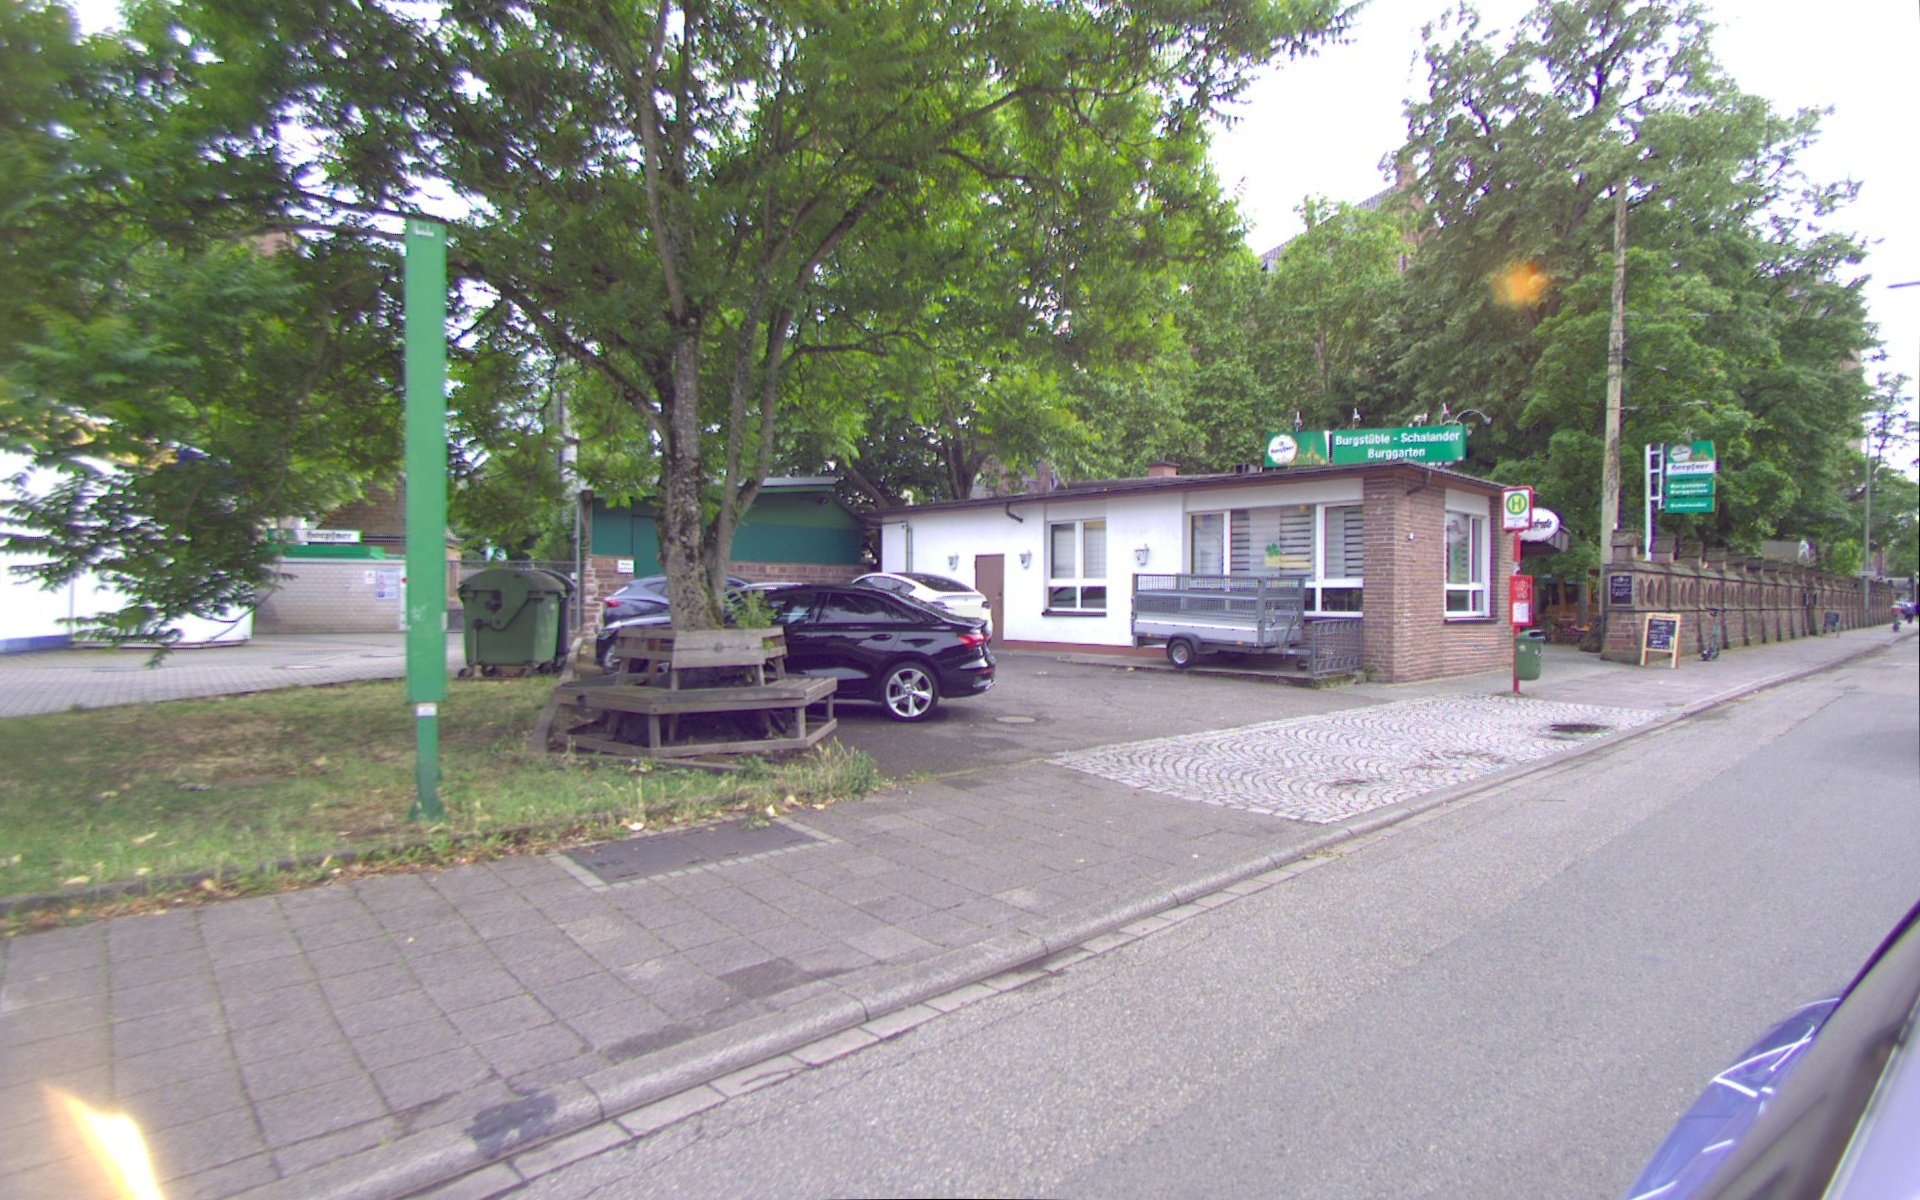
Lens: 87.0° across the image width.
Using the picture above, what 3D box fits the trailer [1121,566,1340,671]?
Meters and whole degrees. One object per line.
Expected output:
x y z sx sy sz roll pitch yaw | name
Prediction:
4.415 0.251 16.786 1.593 1.558 3.166 -1 1 -42 | trailer

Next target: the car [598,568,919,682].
-2.882 0.331 15.209 4.455 1.445 1.879 2 3 0 | car

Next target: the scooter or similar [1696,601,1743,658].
17.712 0.663 23.600 1.386 1.254 0.577 0 3 -43 | scooter or similar

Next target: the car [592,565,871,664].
-3.784 0.234 17.455 4.402 1.477 1.987 2 0 -4 | car

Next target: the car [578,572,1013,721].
-1.715 0.466 11.492 4.498 1.425 1.935 1 1 1 | car

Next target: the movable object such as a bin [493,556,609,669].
-5.825 0.186 14.513 1.102 1.510 1.295 2 -2 -3 | movable object such as a bin

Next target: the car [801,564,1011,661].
-1.170 0.193 19.782 1.954 1.667 4.435 0 0 -38 | car

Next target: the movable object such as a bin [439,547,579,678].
-5.804 0.156 13.140 1.102 1.533 1.422 4 -1 -2 | movable object such as a bin
